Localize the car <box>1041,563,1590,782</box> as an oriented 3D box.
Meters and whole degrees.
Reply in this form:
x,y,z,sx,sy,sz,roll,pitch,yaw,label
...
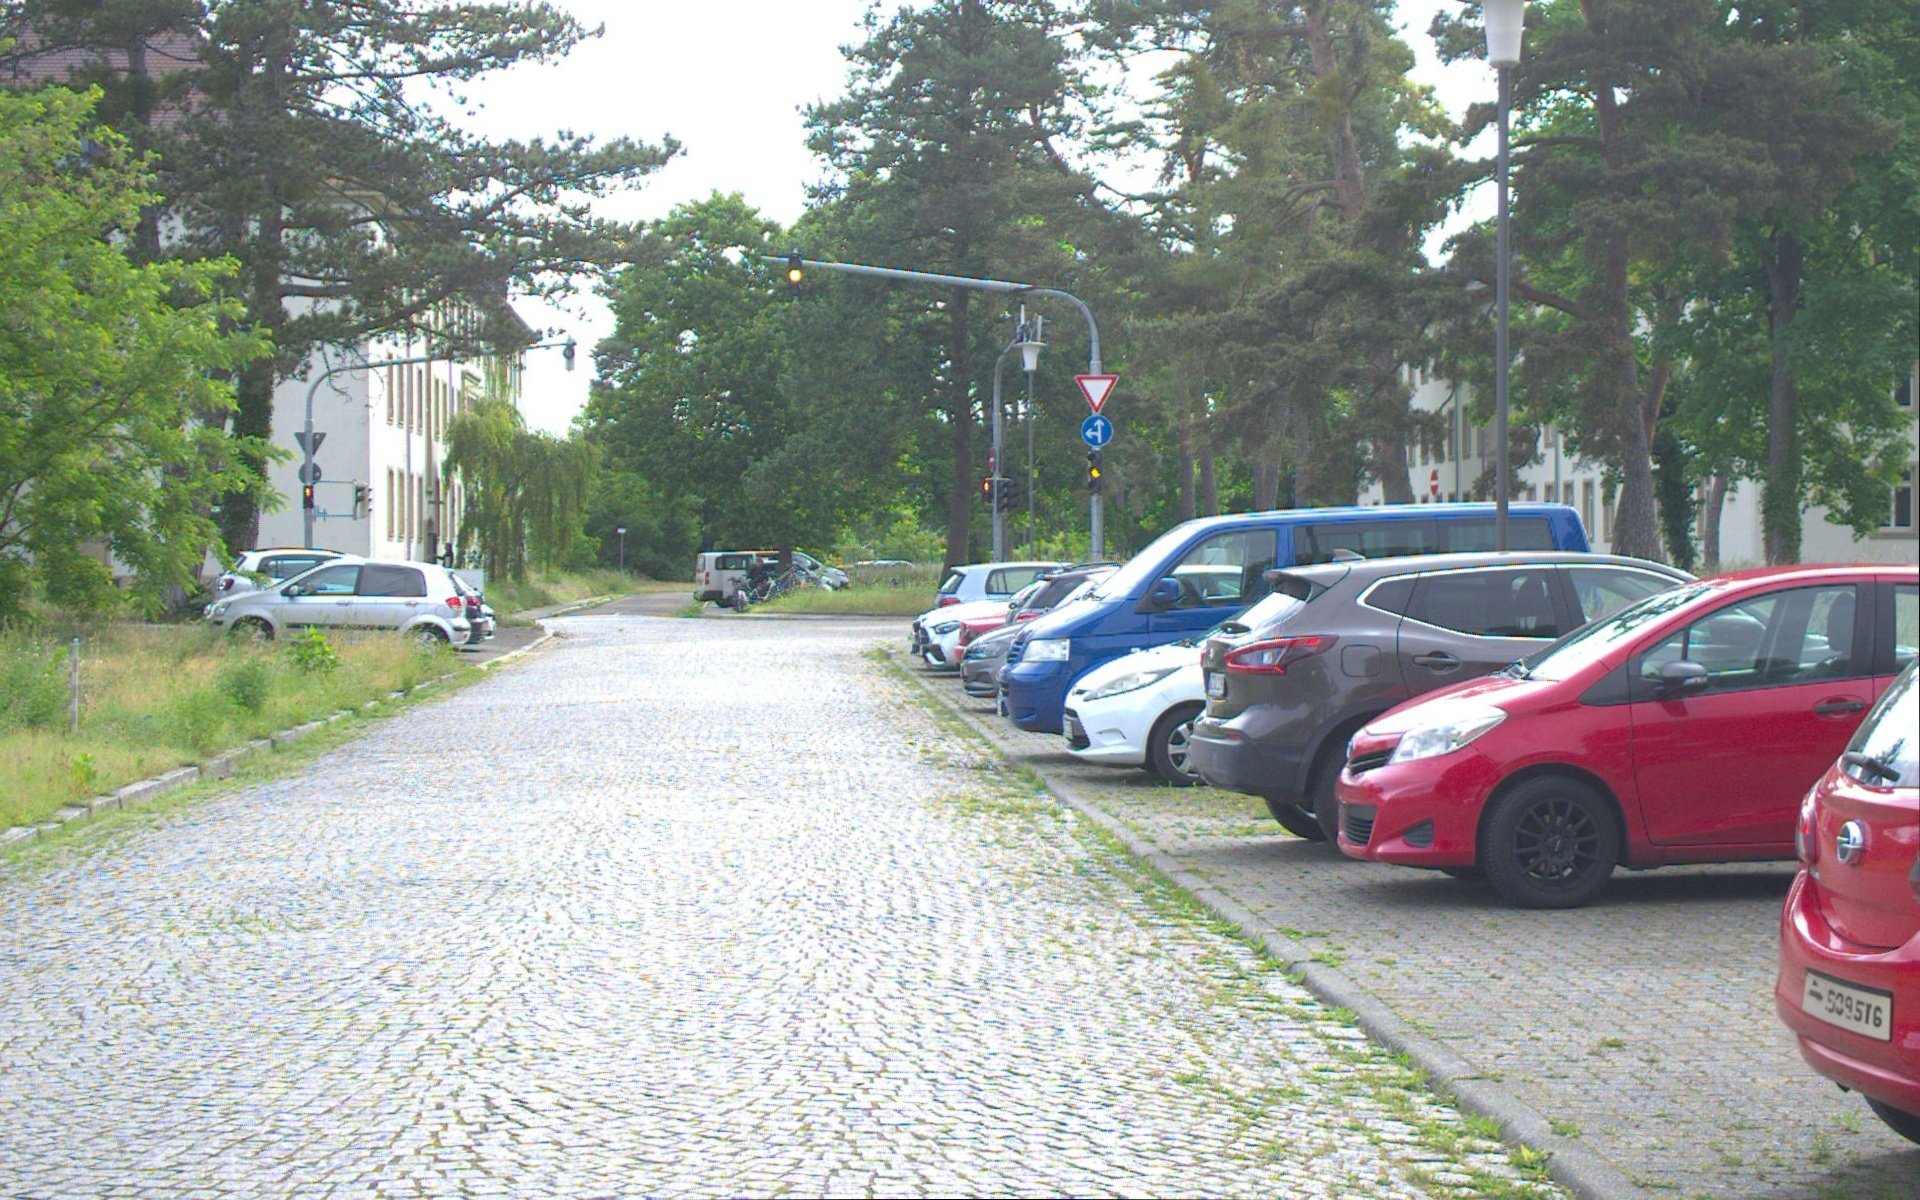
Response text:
x,y,z,sx,sy,sz,roll,pitch,yaw,label
2.520,0.497,24.865,3.671,1.444,1.615,-1,0,-6,car

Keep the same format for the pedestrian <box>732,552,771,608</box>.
x,y,z,sx,sy,sz,roll,pitch,yaw,label
-6.042,-0.576,99.820,1.033,1.608,0.758,1,0,-10,pedestrian

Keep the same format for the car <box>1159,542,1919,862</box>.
x,y,z,sx,sy,sz,roll,pitch,yaw,label
3.216,0.507,18.516,4.028,1.547,1.751,-1,0,-6,car

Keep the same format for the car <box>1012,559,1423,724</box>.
x,y,z,sx,sy,sz,roll,pitch,yaw,label
2.415,0.377,32.743,3.671,1.444,1.524,-1,0,-5,car

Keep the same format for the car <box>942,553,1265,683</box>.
x,y,z,sx,sy,sz,roll,pitch,yaw,label
1.690,0.205,41.189,3.671,1.444,1.524,-1,0,-5,car

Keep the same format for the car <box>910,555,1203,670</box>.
x,y,z,sx,sy,sz,roll,pitch,yaw,label
1.256,0.155,45.711,3.671,1.416,1.524,-1,0,-7,car

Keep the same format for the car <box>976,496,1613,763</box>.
x,y,z,sx,sy,sz,roll,pitch,yaw,label
2.604,0.214,27.464,4.753,1.948,1.932,-1,0,-5,car

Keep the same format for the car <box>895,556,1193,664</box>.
x,y,z,sx,sy,sz,roll,pitch,yaw,label
1.165,0.126,48.566,3.967,1.416,1.620,-1,0,-7,car

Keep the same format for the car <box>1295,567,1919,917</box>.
x,y,z,sx,sy,sz,roll,pitch,yaw,label
3.581,0.598,15.881,3.791,1.455,1.751,-1,0,-3,car

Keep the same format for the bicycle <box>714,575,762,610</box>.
x,y,z,sx,sy,sz,roll,pitch,yaw,label
-6.193,-0.219,95.756,0.620,0.942,1.663,1,1,-31,bicycle

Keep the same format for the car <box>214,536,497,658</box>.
x,y,z,sx,sy,sz,roll,pitch,yaw,label
-9.624,-0.057,54.984,4.262,1.834,1.744,-1,0,-4,car

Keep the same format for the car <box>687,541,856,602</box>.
x,y,z,sx,sy,sz,roll,pitch,yaw,label
-6.474,-0.973,117.749,5.444,2.007,2.269,1,0,-12,car

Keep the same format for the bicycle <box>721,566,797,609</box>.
x,y,z,sx,sy,sz,roll,pitch,yaw,label
-5.811,-0.352,99.493,2.136,1.210,0.622,1,0,-9,bicycle

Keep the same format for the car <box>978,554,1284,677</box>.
x,y,z,sx,sy,sz,roll,pitch,yaw,label
2.137,0.183,43.501,3.671,1.444,1.524,-1,0,-5,car

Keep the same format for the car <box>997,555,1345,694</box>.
x,y,z,sx,sy,sz,roll,pitch,yaw,label
2.336,0.260,38.514,3.671,1.444,1.524,-1,0,-5,car

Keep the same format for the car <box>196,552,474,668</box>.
x,y,z,sx,sy,sz,roll,pitch,yaw,label
-8.983,0.130,49.607,3.821,1.567,1.565,-1,0,-6,car

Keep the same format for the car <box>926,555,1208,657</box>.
x,y,z,sx,sy,sz,roll,pitch,yaw,label
1.572,0.077,51.241,3.967,1.416,1.620,-1,0,-7,car

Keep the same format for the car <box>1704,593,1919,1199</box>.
x,y,z,sx,sy,sz,roll,pitch,yaw,label
3.942,0.687,8.299,3.825,1.455,1.779,-1,0,-4,car

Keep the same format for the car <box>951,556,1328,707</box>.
x,y,z,sx,sy,sz,roll,pitch,yaw,label
1.820,0.311,35.494,3.671,1.444,1.524,-1,0,-5,car

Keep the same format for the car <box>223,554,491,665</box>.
x,y,z,sx,sy,sz,roll,pitch,yaw,label
-9.091,0.139,52.022,3.821,1.567,1.564,-1,0,-4,car
